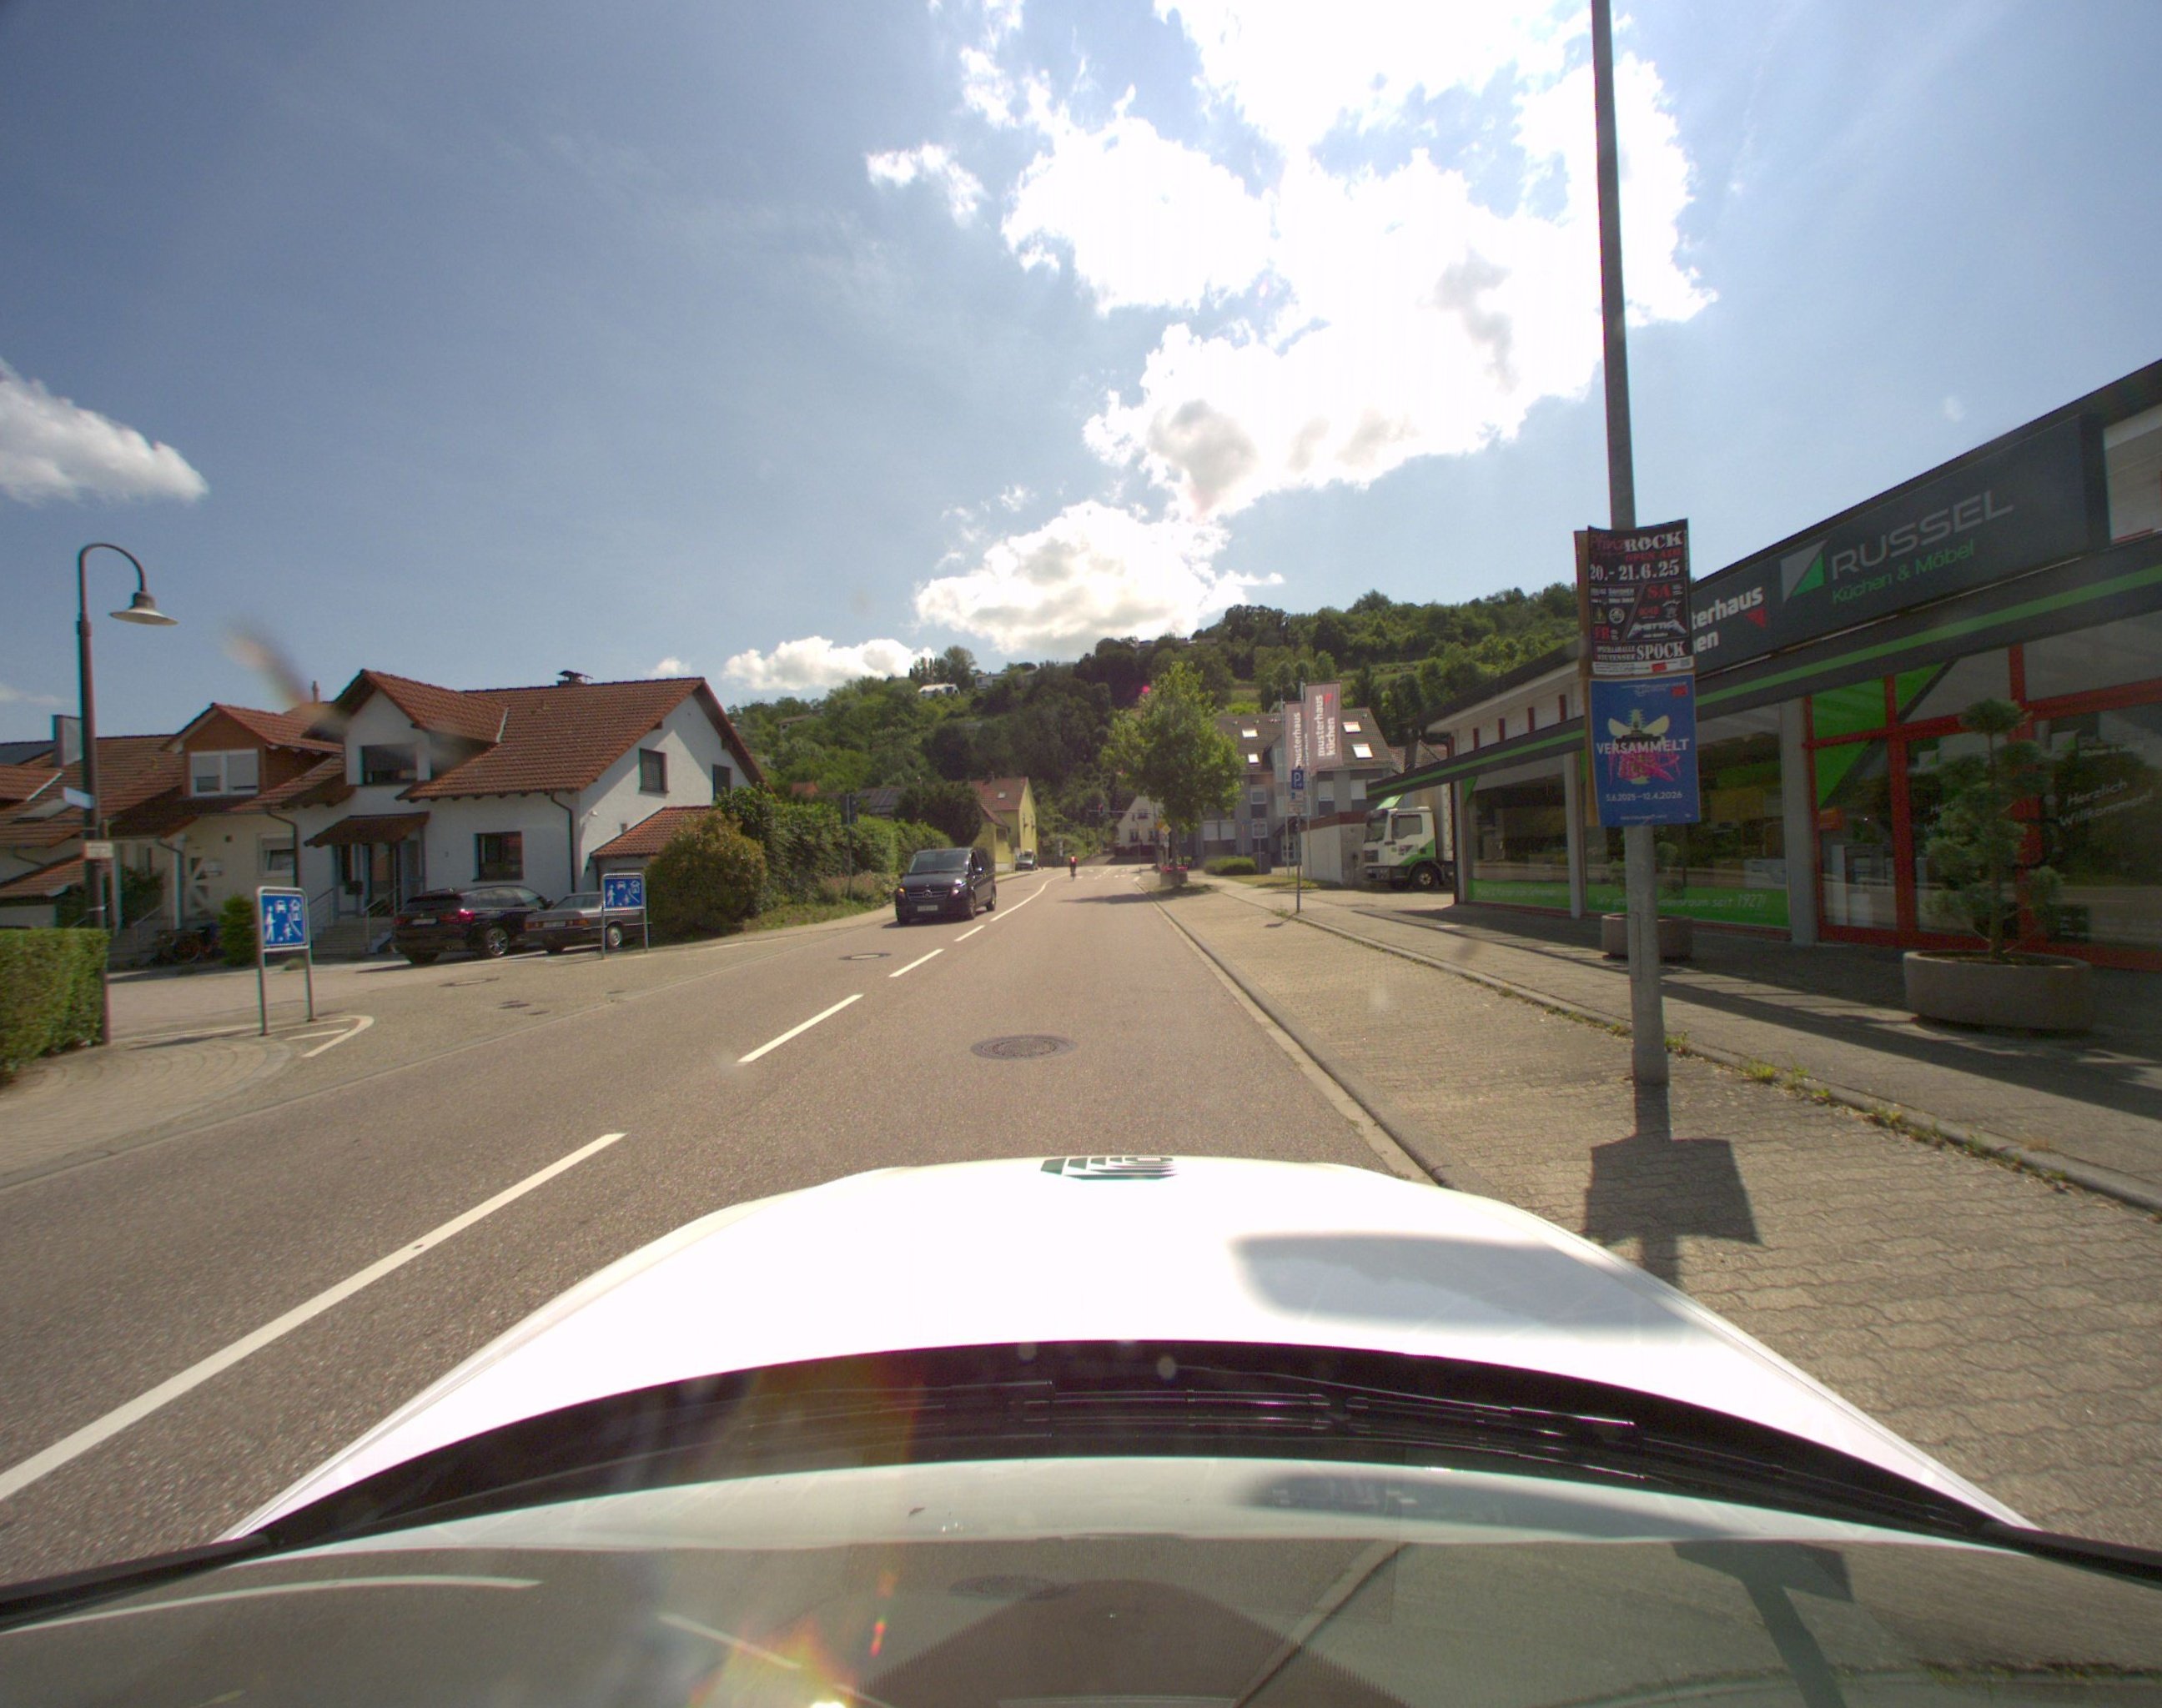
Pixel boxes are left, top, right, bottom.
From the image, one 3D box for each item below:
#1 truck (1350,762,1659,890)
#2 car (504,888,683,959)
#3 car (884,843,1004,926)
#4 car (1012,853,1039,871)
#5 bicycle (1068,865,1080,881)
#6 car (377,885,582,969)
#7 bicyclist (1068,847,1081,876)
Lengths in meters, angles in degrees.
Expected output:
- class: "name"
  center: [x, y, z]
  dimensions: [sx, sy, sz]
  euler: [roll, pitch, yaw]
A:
- class: "truck"
  center: [12.955, -0.805, 25.426]
  dimensions: [8.141, 3.573, 2.678]
  euler: [-1, -2, 1]
- class: "car"
  center: [-11.676, 1.608, 19.871]
  dimensions: [1.653, 1.285, 4.005]
  euler: [-4, 0, 4]
- class: "car"
  center: [-3.484, 0.721, 21.764]
  dimensions: [1.985, 1.852, 5.073]
  euler: [-3, 0, 3]
- class: "car"
  center: [-5.274, 0.762, 78.382]
  dimensions: [1.985, 1.635, 4.635]
  euler: [-1, 0, 4]
- class: "bicycle"
  center: [-0.396, 1.082, 46.725]
  dimensions: [0.628, 0.905, 1.656]
  euler: [-1, 0, -1]
- class: "car"
  center: [-14.121, 1.642, 19.457]
  dimensions: [1.760, 1.550, 4.001]
  euler: [-3, 0, 1]
- class: "bicyclist"
  center: [-0.379, 0.432, 46.764]
  dimensions: [0.758, 1.664, 0.868]
  euler: [-1, 0, -1]
